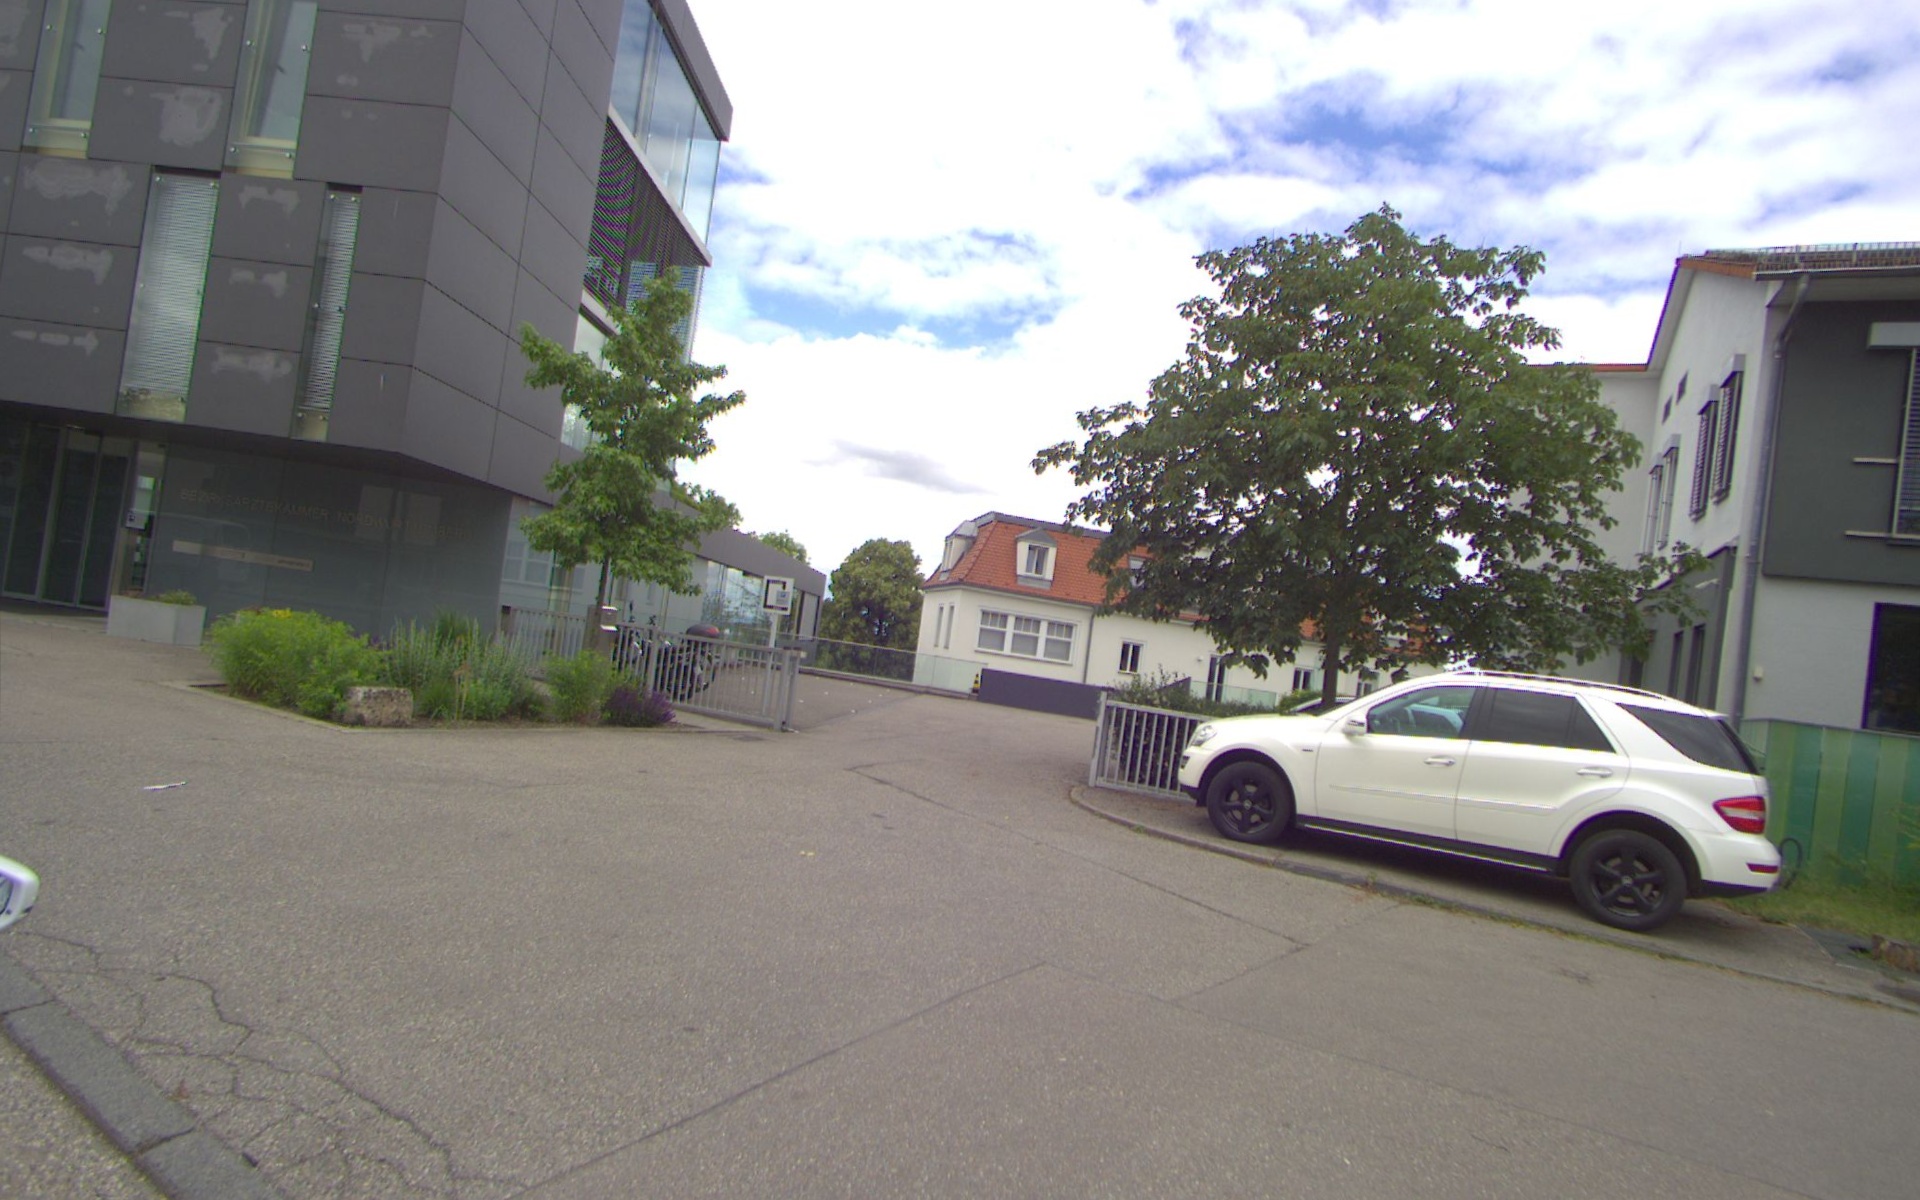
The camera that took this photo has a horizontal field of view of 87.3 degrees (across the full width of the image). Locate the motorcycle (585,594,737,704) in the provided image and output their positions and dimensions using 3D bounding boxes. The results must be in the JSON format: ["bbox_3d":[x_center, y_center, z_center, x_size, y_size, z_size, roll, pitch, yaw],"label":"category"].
[{"bbox_3d":[-4.739,0.774,15.958,2.084,1.409,0.671,8,-1,13],"label":"motorcycle"}]

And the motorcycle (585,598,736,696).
[{"bbox_3d":[-5.349,0.833,18.004,2.416,1.409,0.671,7,-1,13],"label":"motorcycle"}]

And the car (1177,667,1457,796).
[{"bbox_3d":[5.957,2.138,16.939,4.142,1.500,1.621,5,-2,25],"label":"car"}]

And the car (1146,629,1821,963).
[{"bbox_3d":[4.259,1.465,8.859,4.644,1.777,1.856,6,-2,32],"label":"car"}]
